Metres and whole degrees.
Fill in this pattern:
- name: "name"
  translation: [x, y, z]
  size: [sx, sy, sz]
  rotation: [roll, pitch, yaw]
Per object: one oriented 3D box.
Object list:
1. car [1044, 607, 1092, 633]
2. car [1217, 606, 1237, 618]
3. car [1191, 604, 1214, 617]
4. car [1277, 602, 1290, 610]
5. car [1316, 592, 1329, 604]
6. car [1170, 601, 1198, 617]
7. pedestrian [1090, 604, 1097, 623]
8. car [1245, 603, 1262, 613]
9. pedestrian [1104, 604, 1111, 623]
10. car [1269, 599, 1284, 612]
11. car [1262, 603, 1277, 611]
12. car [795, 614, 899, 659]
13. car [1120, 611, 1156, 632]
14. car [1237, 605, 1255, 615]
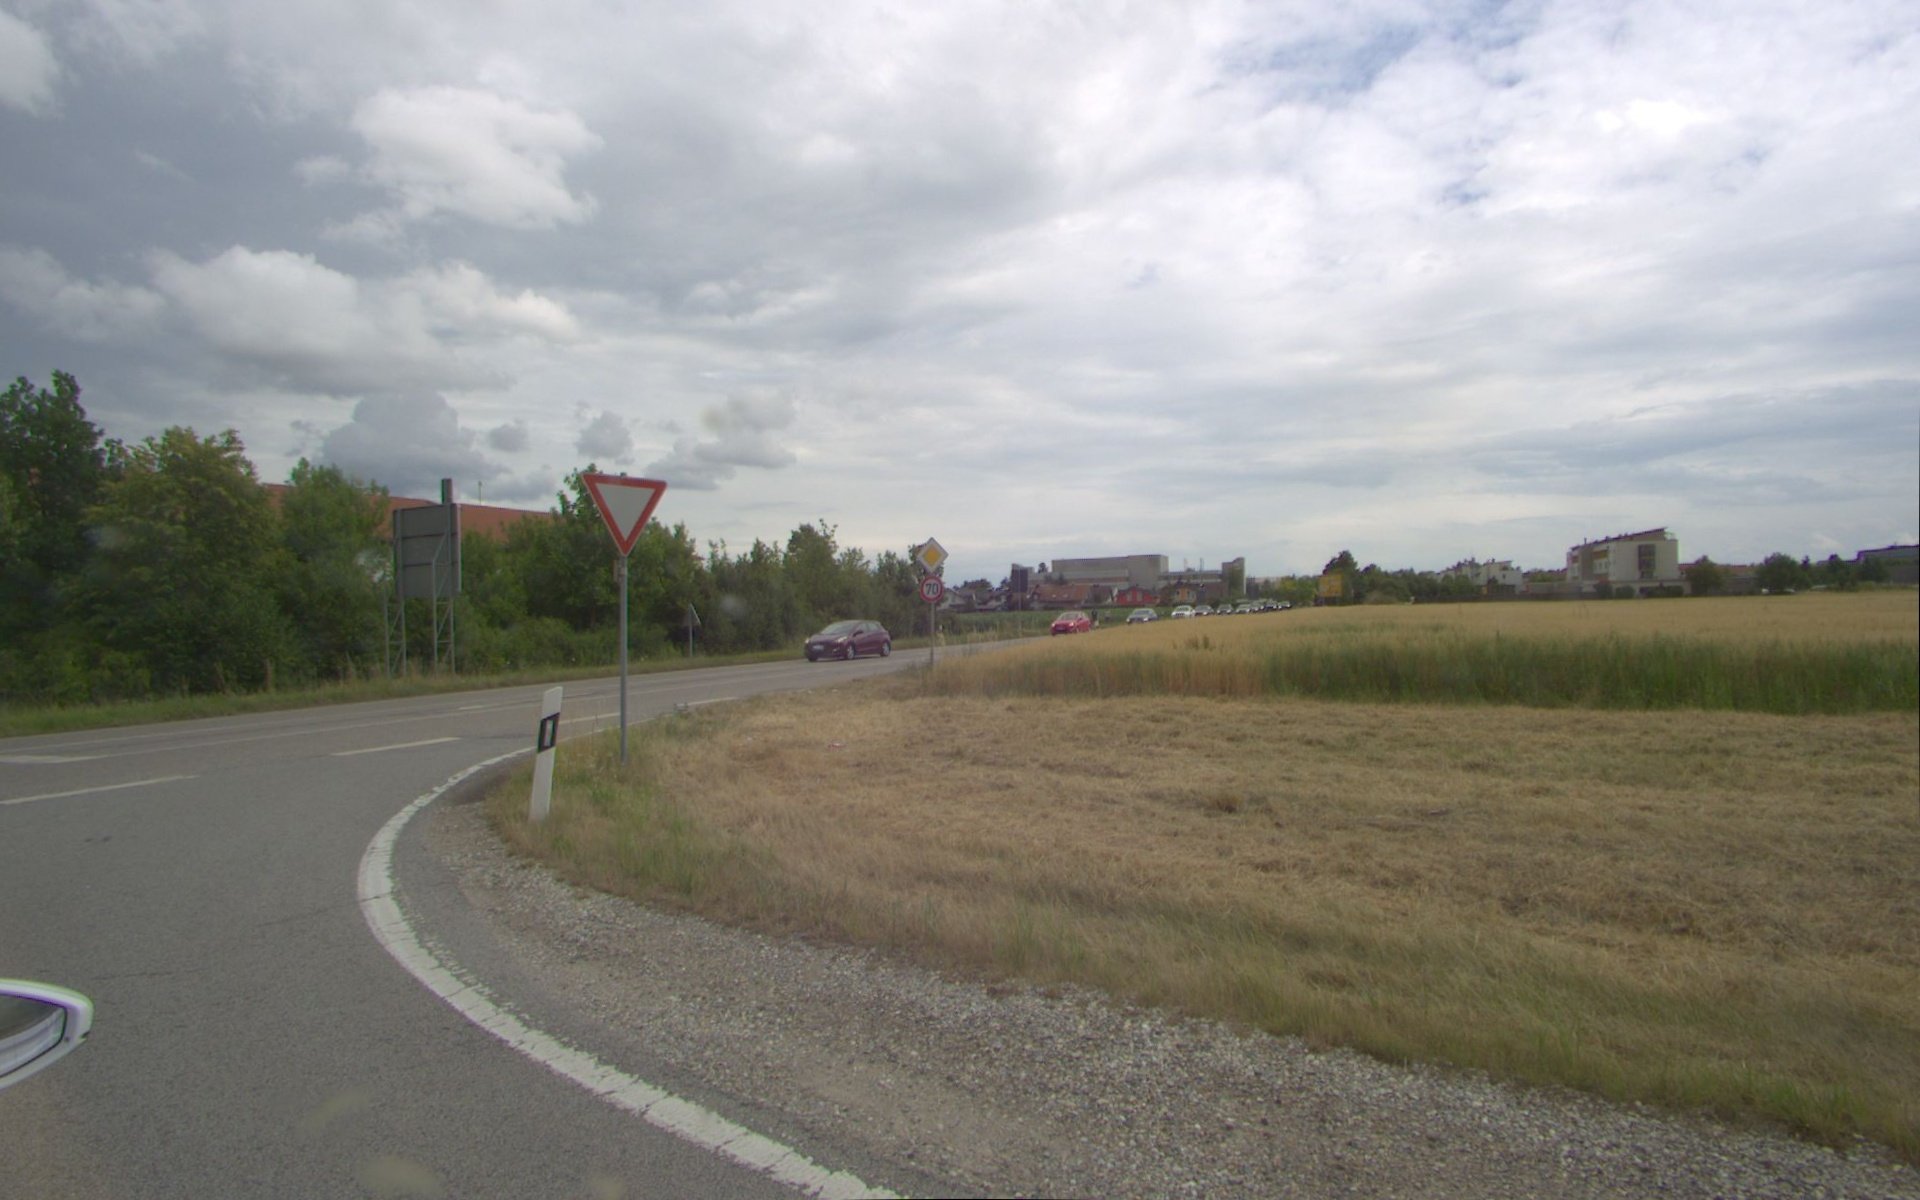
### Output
- name: "car"
  translation: [6.829, 1.228, 63.079]
  size: [1.826, 1.486, 3.987]
  rotation: [-1, 0, 24]
- name: "car"
  translation: [31.308, 1.444, 117.462]
  size: [1.825, 1.287, 3.519]
  rotation: [-1, 0, 23]
- name: "car"
  translation: [25.610, 1.072, 105.682]
  size: [1.825, 1.287, 3.519]
  rotation: [-1, 0, 23]
- name: "car"
  translation: [56.927, 1.036, 175.960]
  size: [1.825, 1.287, 3.519]
  rotation: [-1, 0, 23]
- name: "car"
  translation: [79.496, -0.409, 219.449]
  size: [2.114, 2.675, 5.551]
  rotation: [0, 1, 25]
- name: "car"
  translation: [21.163, 0.850, 94.559]
  size: [1.825, 1.486, 3.988]
  rotation: [-1, 0, 23]
- name: "pedestrian"
  translation: [12.391, 1.268, 93.039]
  size: [0.521, 1.705, 0.626]
  rotation: [0, 1, 19]
- name: "car"
  translation: [41.273, 1.113, 140.765]
  size: [1.825, 1.287, 3.519]
  rotation: [-1, 0, 23]
- name: "pedestrian"
  translation: [13.648, 1.261, 92.617]
  size: [0.521, 1.705, 0.626]
  rotation: [0, 1, 19]
- name: "car"
  translation: [52.657, 0.946, 166.412]
  size: [1.966, 2.041, 3.987]
  rotation: [0, 1, 23]
- name: "car"
  translation: [48.851, 1.076, 157.901]
  size: [1.825, 1.287, 3.519]
  rotation: [-1, 0, 23]
- name: "car"
  translation: [-4.193, 1.330, 37.716]
  size: [1.968, 1.483, 4.146]
  rotation: [-2, 0, 25]
- name: "car"
  translation: [13.776, 1.645, 77.386]
  size: [1.826, 1.486, 3.987]
  rotation: [-1, 0, 24]
- name: "car"
  translation: [37.633, 1.319, 131.769]
  size: [1.825, 1.287, 3.519]
  rotation: [-1, 0, 23]
